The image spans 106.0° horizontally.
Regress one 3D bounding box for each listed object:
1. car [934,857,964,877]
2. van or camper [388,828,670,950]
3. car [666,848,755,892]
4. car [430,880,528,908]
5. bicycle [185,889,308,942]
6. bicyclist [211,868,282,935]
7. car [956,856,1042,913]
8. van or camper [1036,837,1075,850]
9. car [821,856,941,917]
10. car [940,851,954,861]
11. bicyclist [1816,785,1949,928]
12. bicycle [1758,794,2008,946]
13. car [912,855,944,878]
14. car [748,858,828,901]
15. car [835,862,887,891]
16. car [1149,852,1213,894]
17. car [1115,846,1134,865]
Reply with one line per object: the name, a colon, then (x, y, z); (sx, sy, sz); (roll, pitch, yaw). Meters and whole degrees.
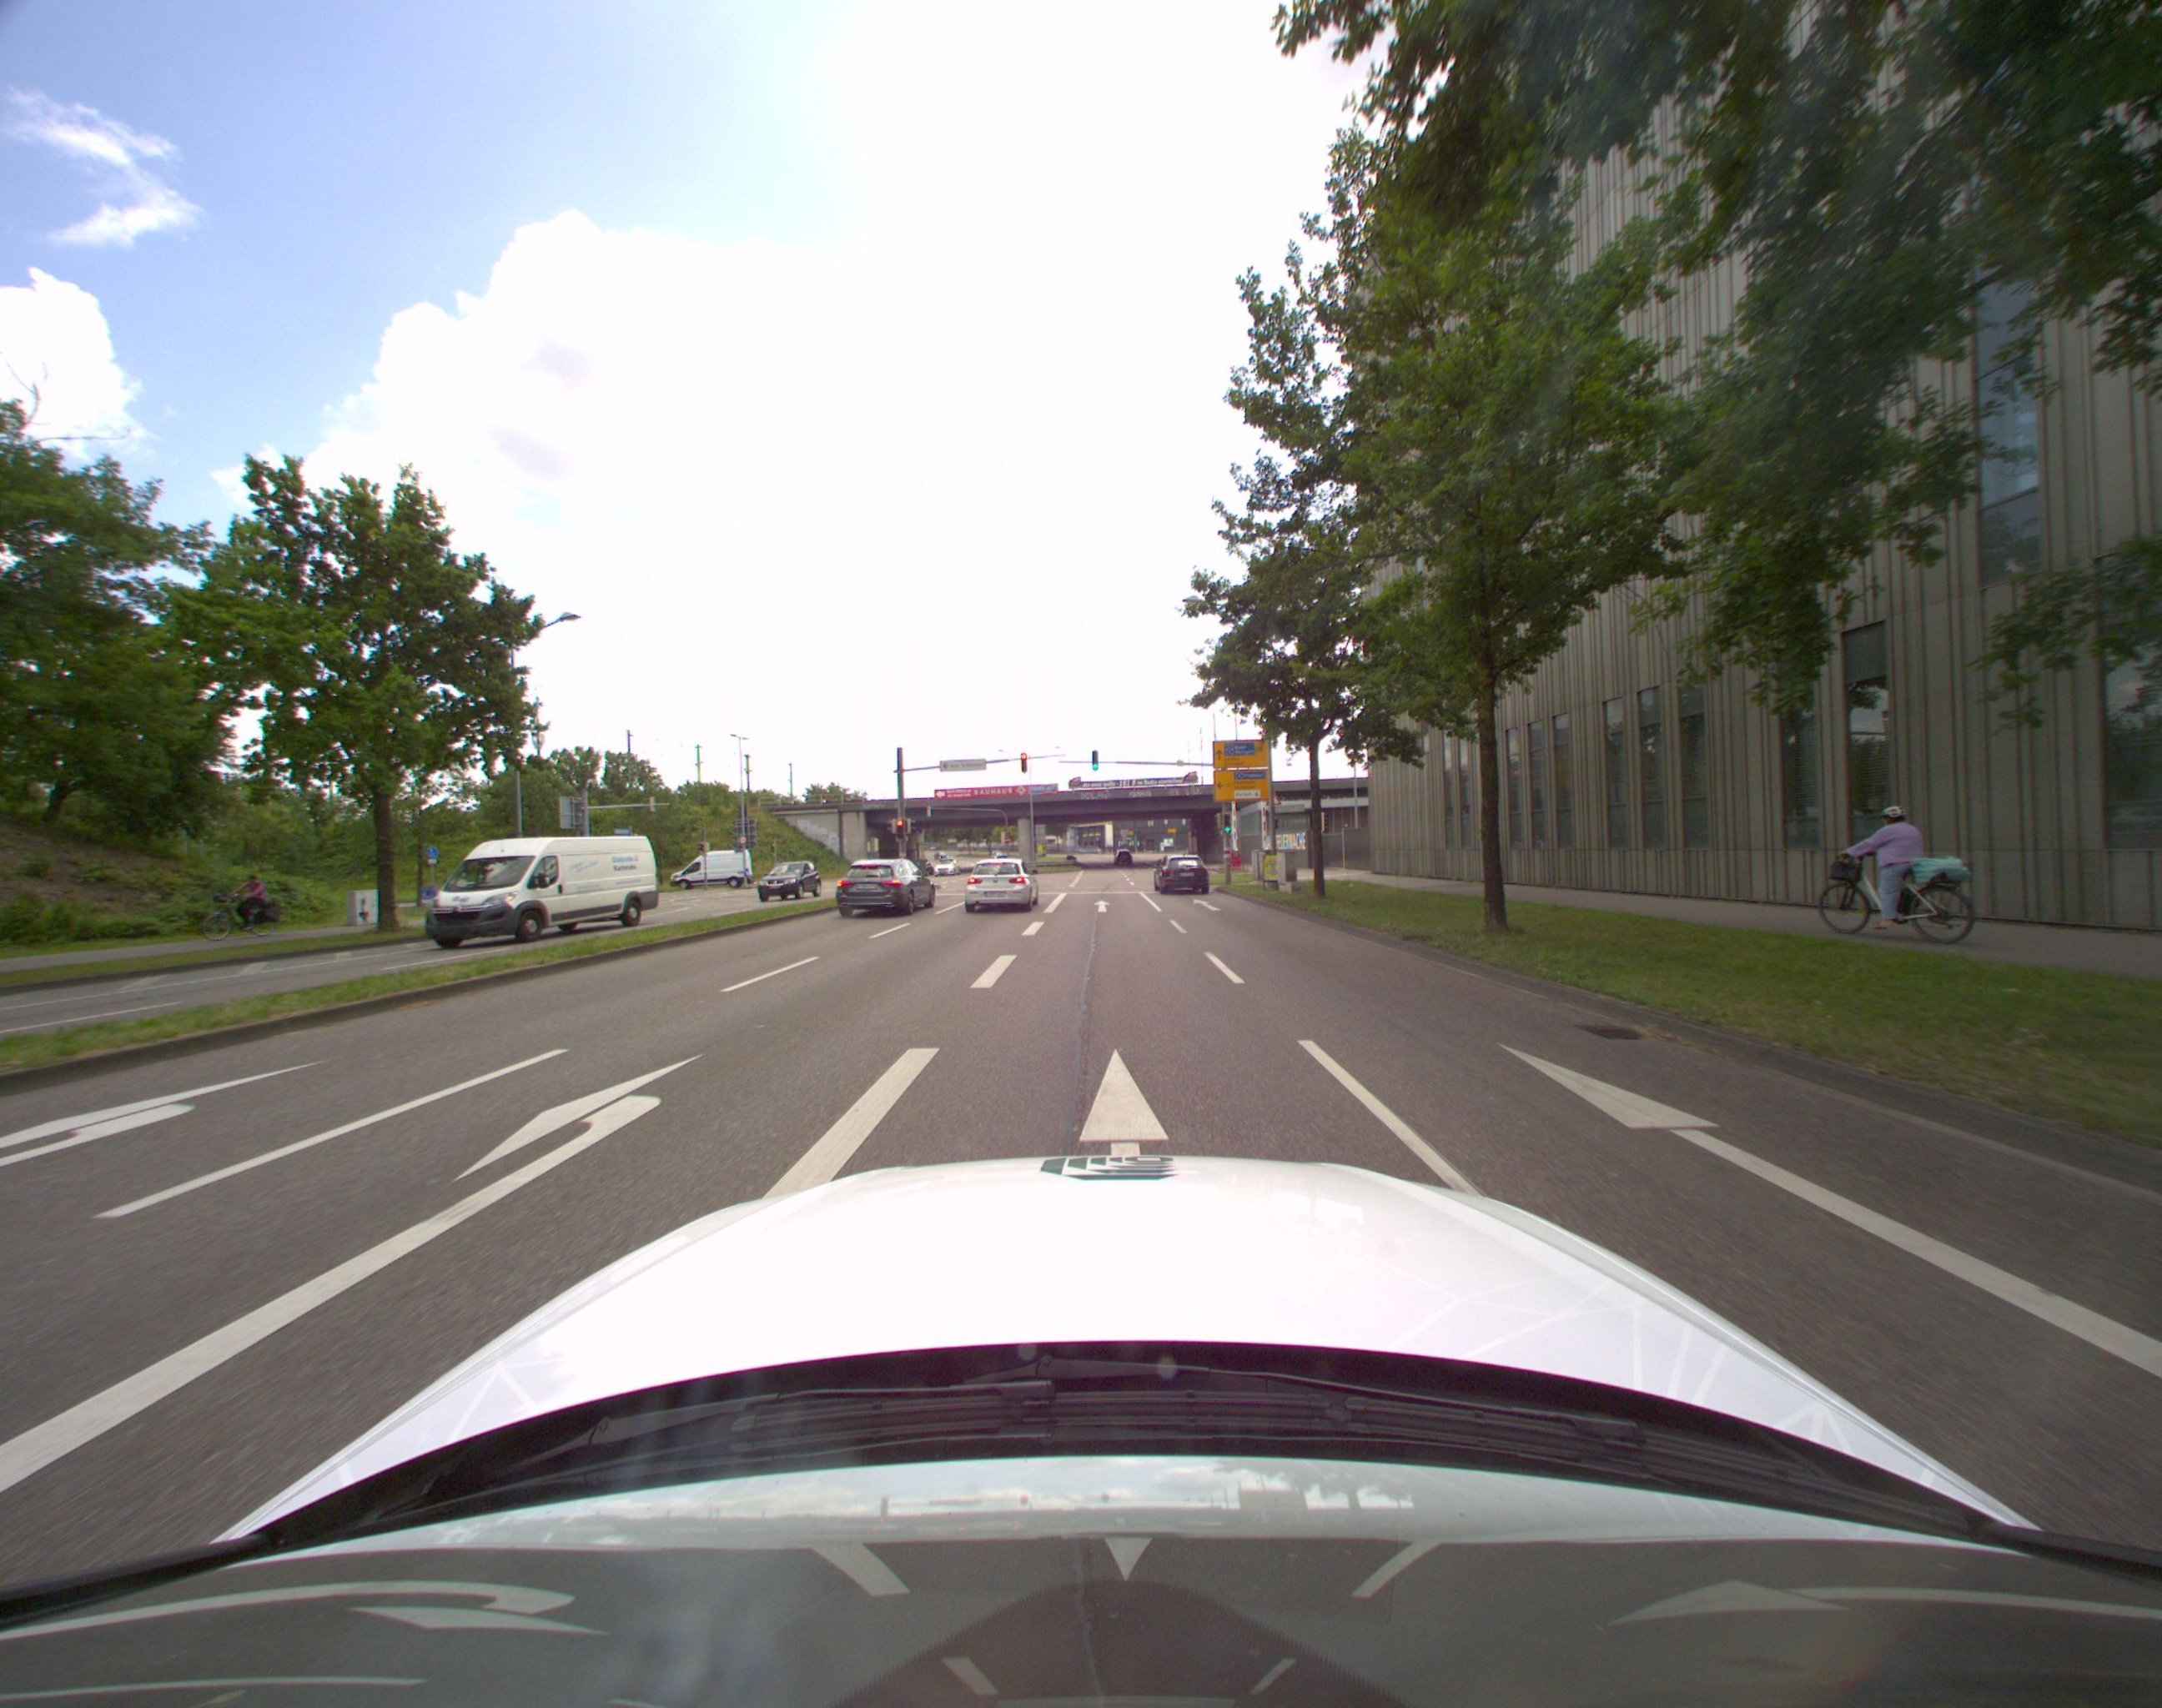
car: (-11.970, 1.134, 73.966); (1.799, 1.632, 4.393); (-2, 0, 1)
van or camper: (-13.543, 0.736, 20.896); (2.344, 2.539, 7.063); (-1, 0, 0)
car: (-26.698, 1.133, 58.843); (5.409, 2.821, 2.374); (-3, 0, -16)
car: (-34.754, 2.291, 47.079); (4.285, 1.379, 2.004); (-2, 0, 7)
bicycle: (-22.802, 1.642, 22.342); (0.818, 1.270, 2.395); (-1, 0, 3)
bicyclist: (-22.770, 1.278, 22.238); (0.888, 1.747, 0.998); (-1, 0, 4)
car: (-2.225, 0.799, 23.175); (1.908, 1.415, 4.296); (1, 0, 1)
van or camper: (-4.110, -1.731, 133.708); (6.275, 2.172, 2.103); (-1, 0, -36)
car: (-5.293, 0.792, 22.280); (1.986, 1.415, 4.833); (-1, 0, 1)
car: (-27.183, 0.405, 165.133); (1.987, 2.013, 4.336); (-2, 0, 0)
bicyclist: (10.535, 0.033, 10.744); (0.713, 1.769, 0.987); (-3, 0, -3)
bicycle: (10.543, 0.189, 10.901); (0.718, 1.774, 2.531); (-3, 0, -2)
car: (-14.605, 1.163, 78.005); (1.985, 2.013, 4.004); (-2, 0, 4)
car: (-13.187, 1.099, 36.977); (1.987, 1.766, 4.220); (-2, 0, 0)
car: (-13.519, 1.350, 50.203); (1.919, 1.529, 4.001); (4, 0, 1)
car: (3.755, 0.683, 31.300); (1.986, 1.390, 4.577); (-1, 1, 1)
car: (5.006, 0.158, 94.000); (1.986, 2.037, 4.714); (-3, 0, 2)
